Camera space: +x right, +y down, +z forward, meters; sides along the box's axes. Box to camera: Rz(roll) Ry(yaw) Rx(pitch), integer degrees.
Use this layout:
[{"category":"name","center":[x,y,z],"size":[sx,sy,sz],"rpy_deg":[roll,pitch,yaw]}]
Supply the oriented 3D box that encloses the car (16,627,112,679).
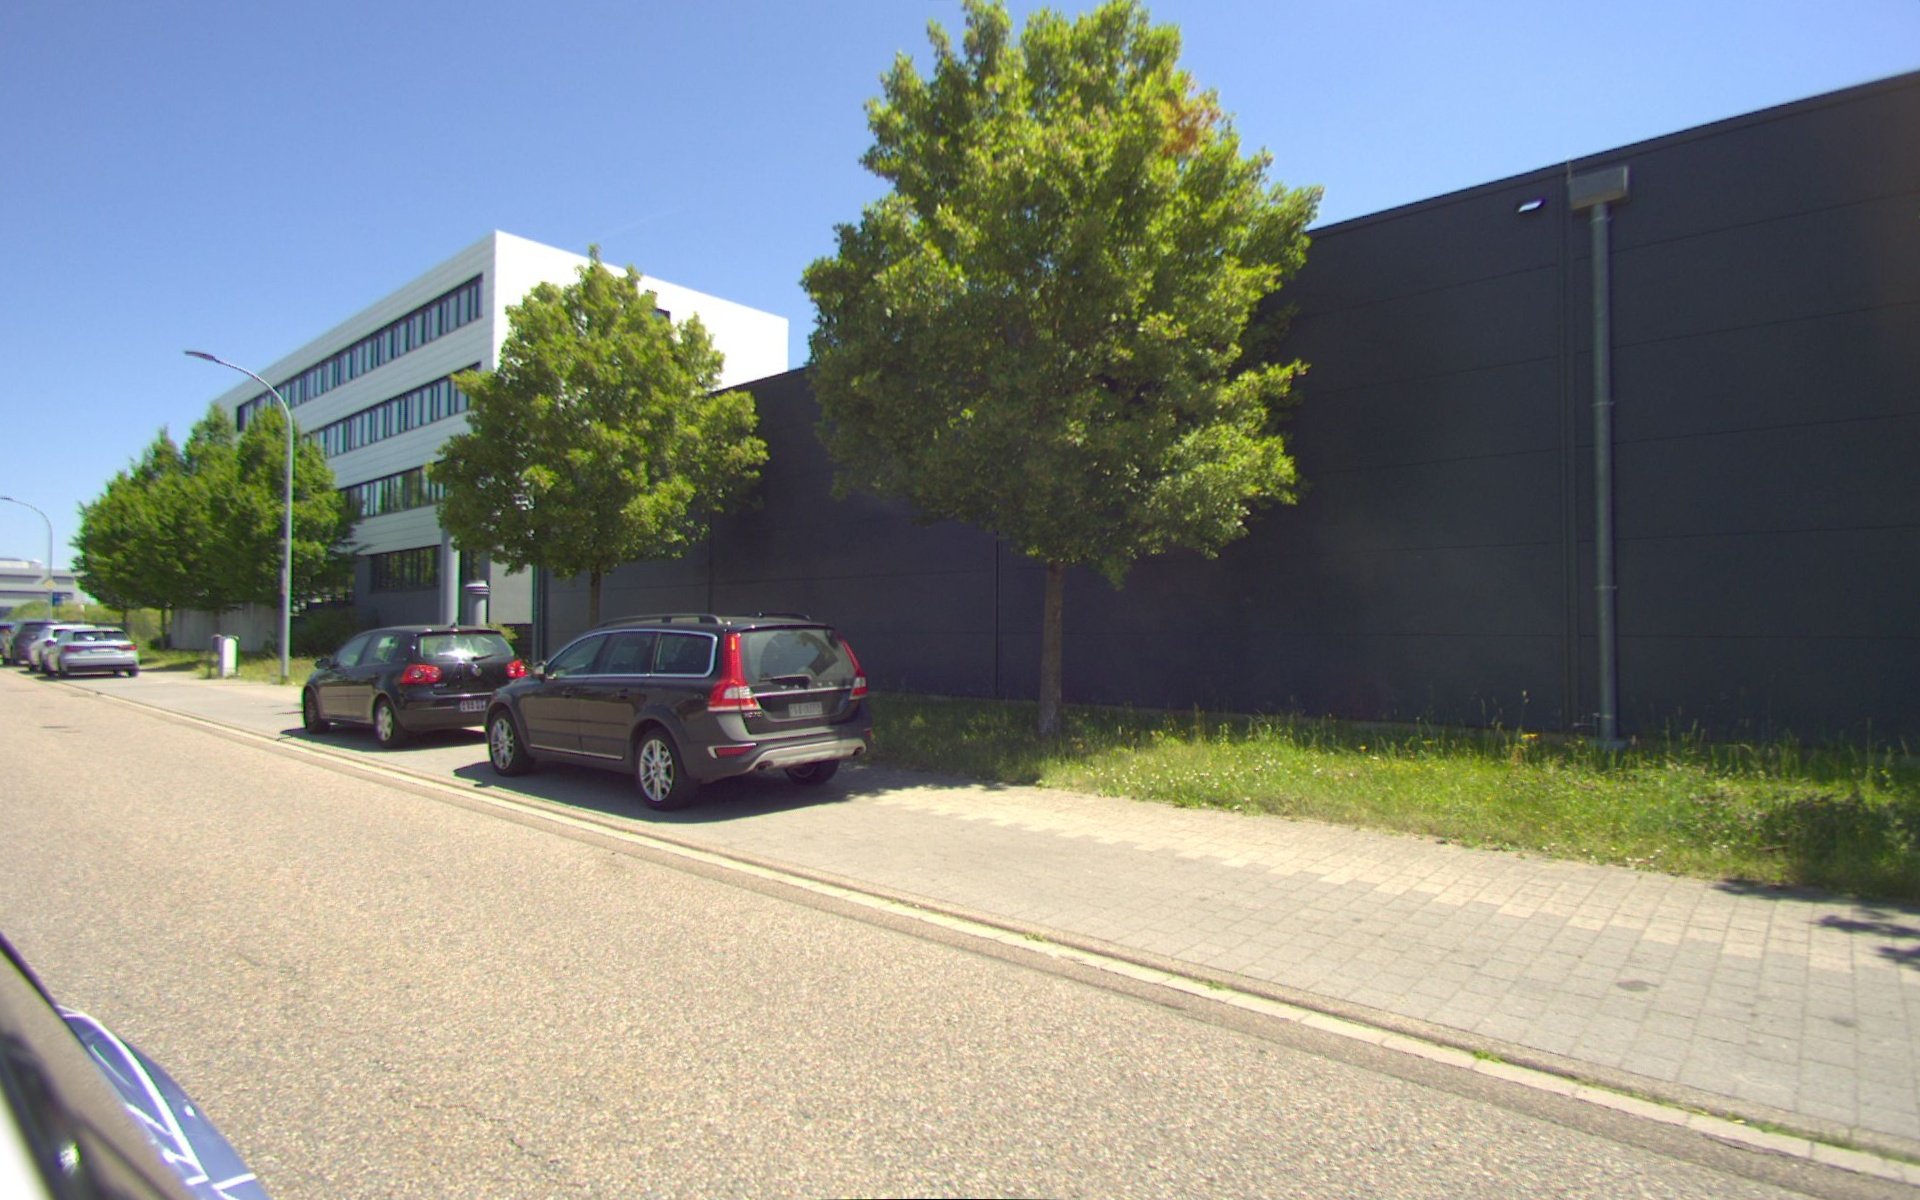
[{"category":"car","center":[-28.384,1.628,32.030],"size":[4.199,1.441,1.752],"rpy_deg":[-1,1,42]}]

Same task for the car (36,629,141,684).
[{"category":"car","center":[-24.803,1.553,28.760],"size":[3.938,1.442,1.752],"rpy_deg":[-1,-2,42]}]

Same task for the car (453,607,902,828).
[{"category":"car","center":[-2.905,0.922,9.693],"size":[4.849,1.624,1.752],"rpy_deg":[-2,-2,41]}]

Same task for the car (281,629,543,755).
[{"category":"car","center":[-7.537,1.127,13.759],"size":[4.198,1.442,1.752],"rpy_deg":[-2,-2,41]}]

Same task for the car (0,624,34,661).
[{"category":"car","center":[-43.067,1.901,45.309],"size":[4.477,1.600,1.753],"rpy_deg":[-2,-2,40]}]

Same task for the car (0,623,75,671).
[{"category":"car","center":[-33.661,1.673,36.697],"size":[4.580,1.636,1.752],"rpy_deg":[-1,-3,42]}]
